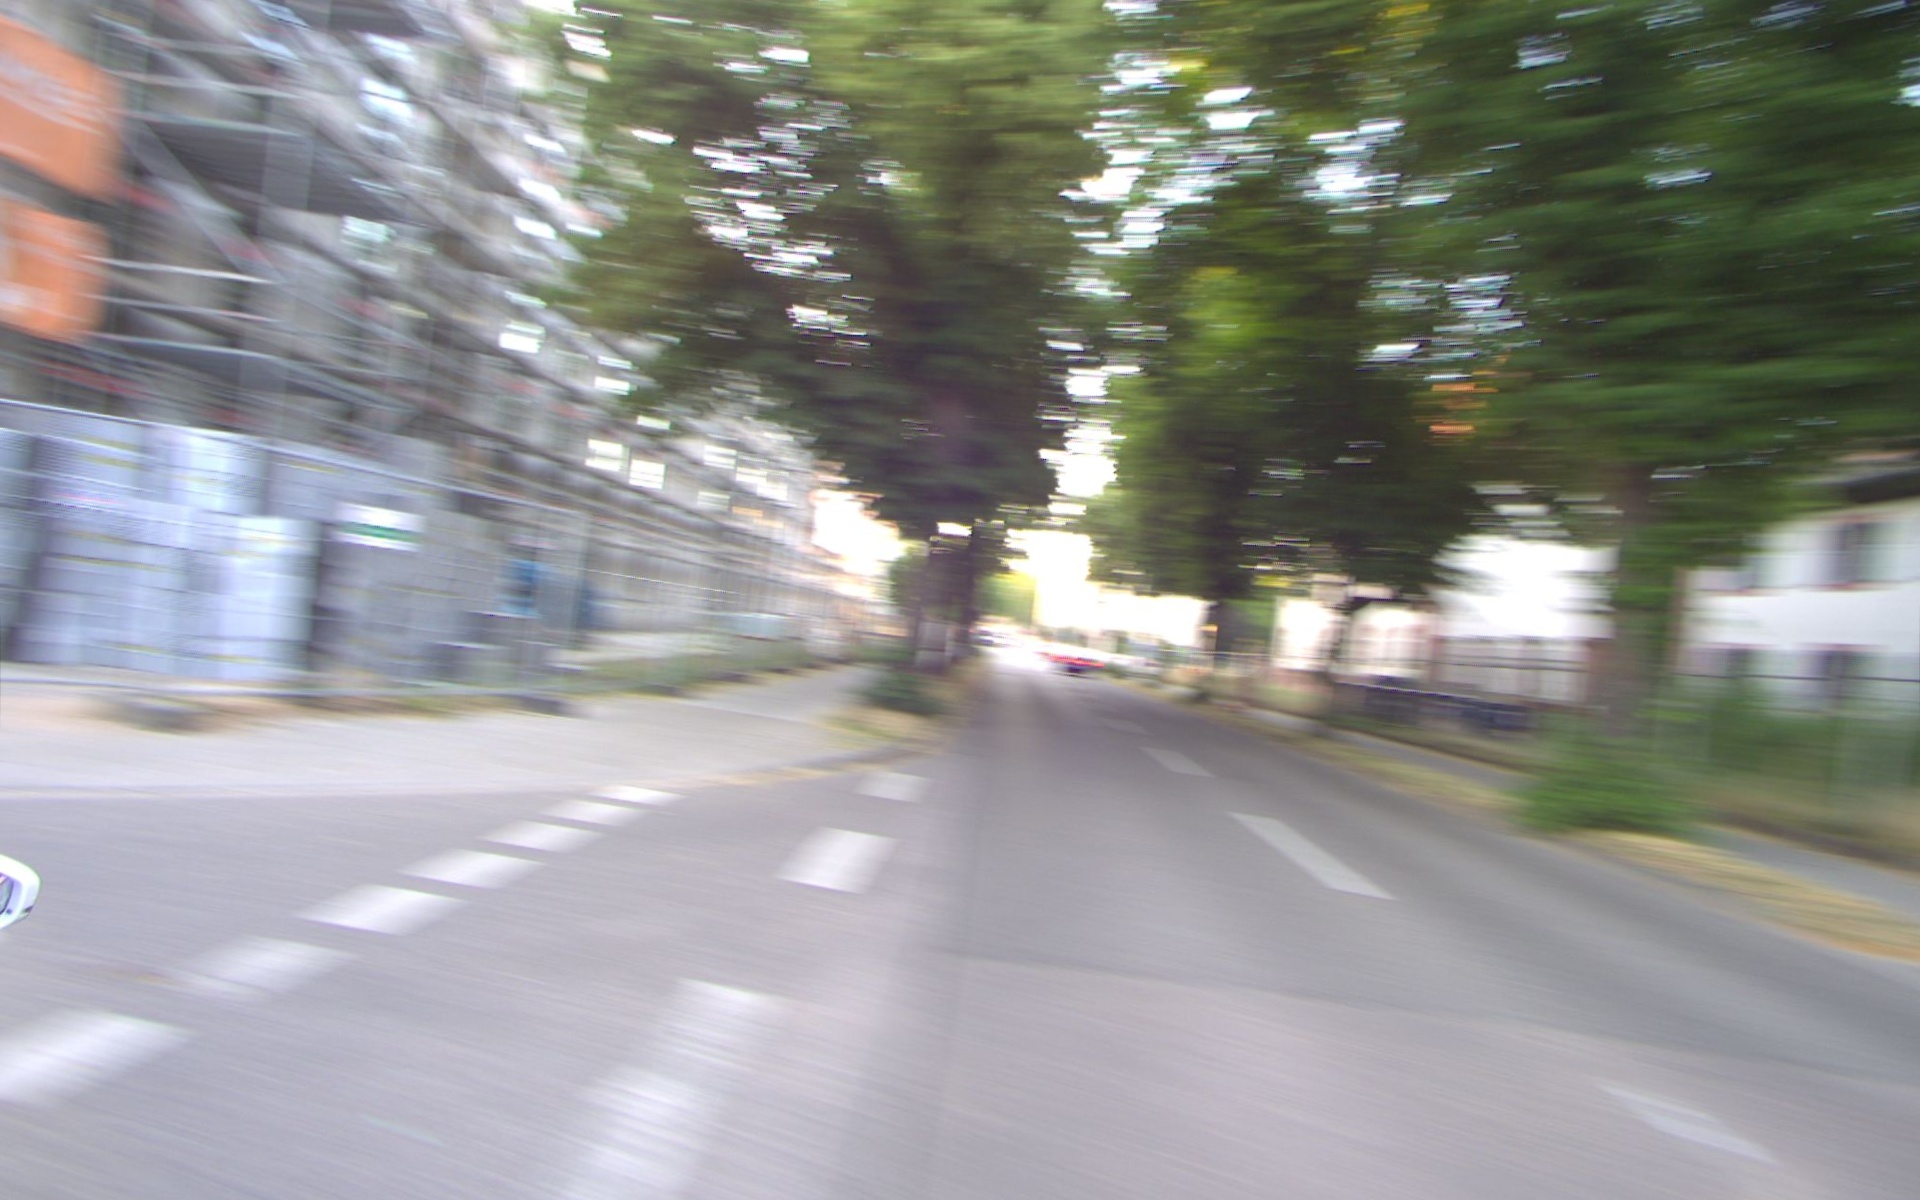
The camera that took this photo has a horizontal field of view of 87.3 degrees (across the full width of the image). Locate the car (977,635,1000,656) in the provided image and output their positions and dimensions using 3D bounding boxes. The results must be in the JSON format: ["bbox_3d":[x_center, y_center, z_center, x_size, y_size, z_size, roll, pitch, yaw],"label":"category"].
[{"bbox_3d":[3.386,5.369,118.488,2.299,2.223,5.313,6,-2,4],"label":"car"}]

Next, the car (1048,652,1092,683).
[{"bbox_3d":[6.059,3.716,55.832,1.917,1.342,4.003,8,-2,2],"label":"car"}]

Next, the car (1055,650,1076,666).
[{"bbox_3d":[11.255,6.232,107.705,1.917,1.342,4.004,8,-2,4],"label":"car"}]

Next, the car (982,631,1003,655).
[{"bbox_3d":[4.199,5.592,130.234,2.453,2.728,5.834,6,-2,2],"label":"car"}]
